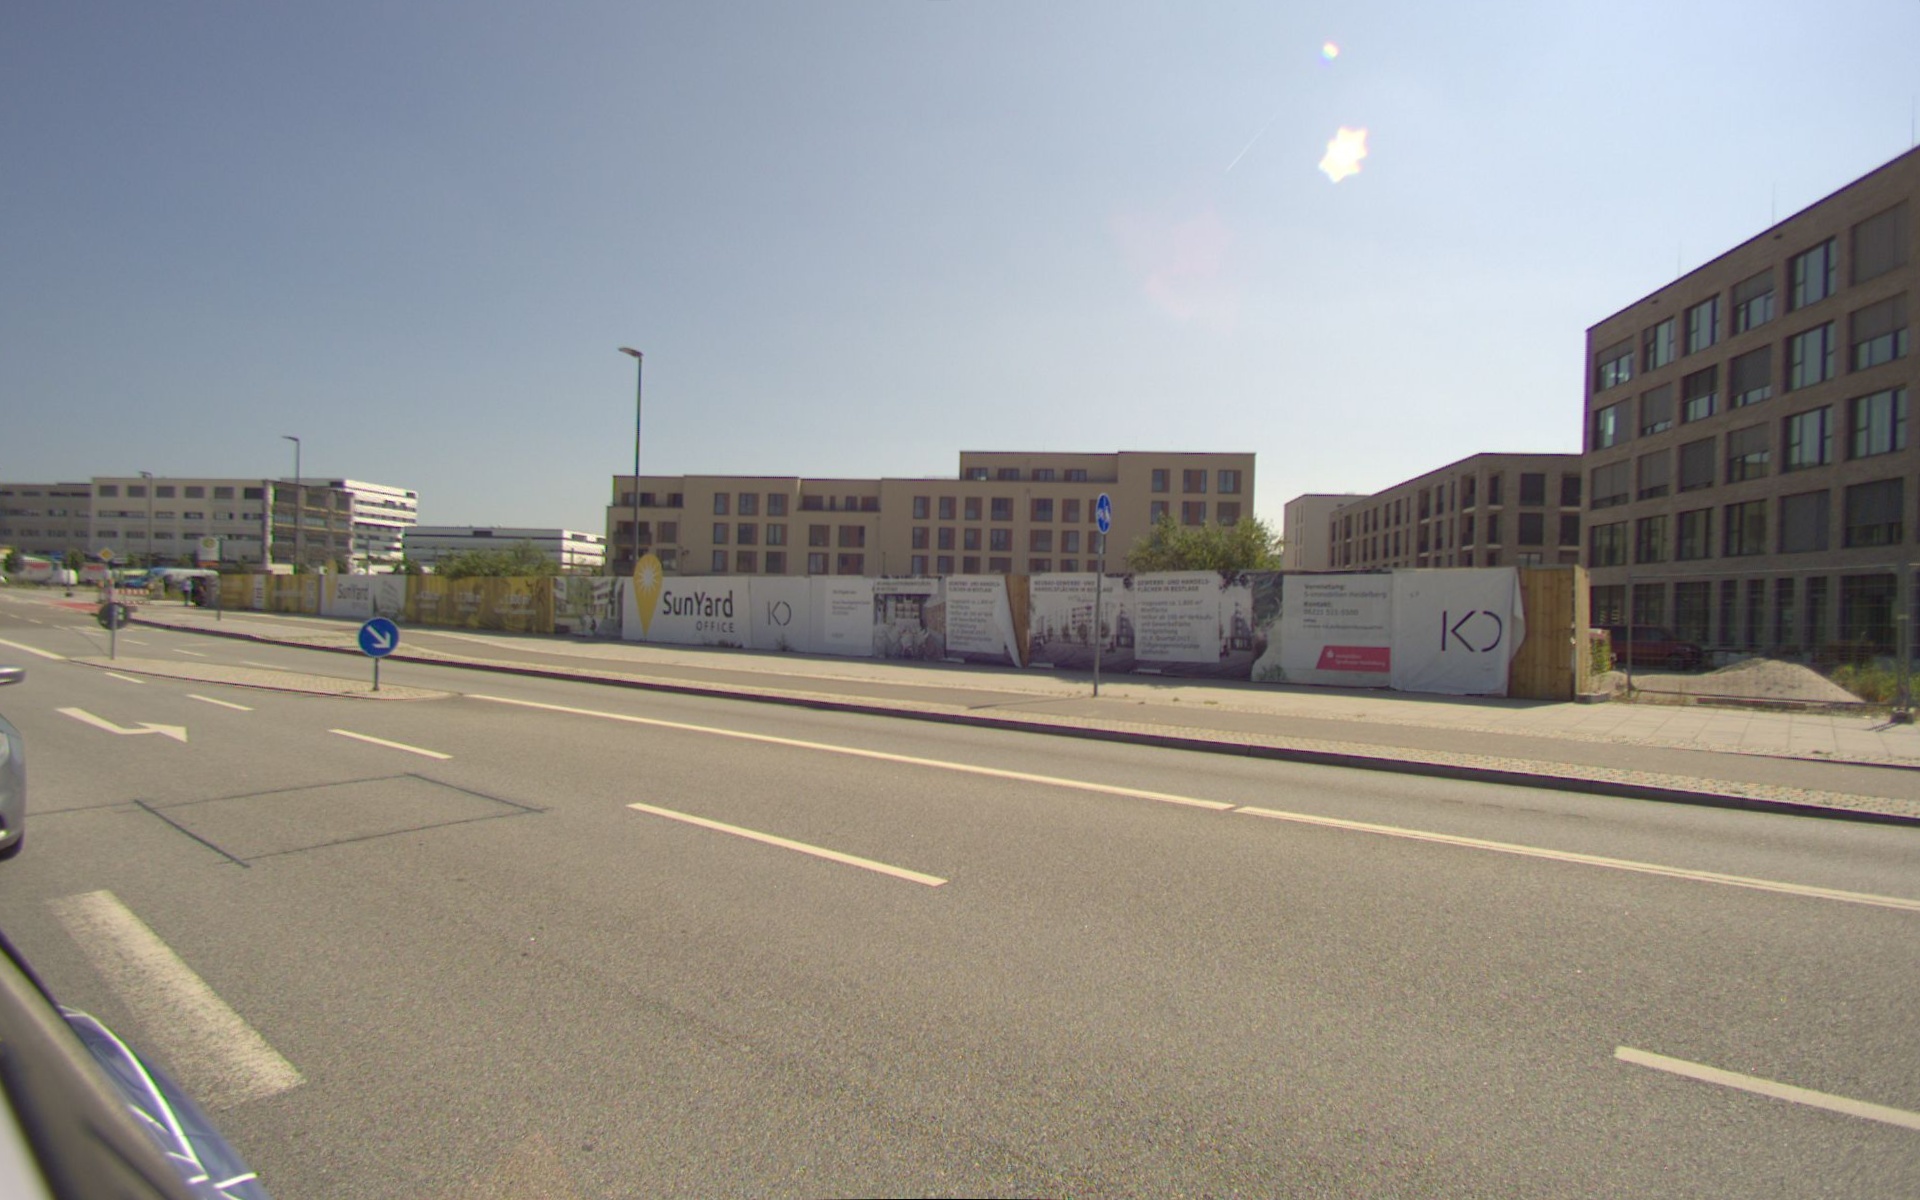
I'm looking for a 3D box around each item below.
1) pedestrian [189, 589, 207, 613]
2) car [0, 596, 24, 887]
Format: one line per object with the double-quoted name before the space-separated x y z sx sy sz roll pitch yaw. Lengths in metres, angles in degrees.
"pedestrian" -49.535 0.059 65.780 0.610 1.598 0.703 0 0 5
"car" -6.667 0.678 5.605 4.134 1.390 1.762 0 1 41
